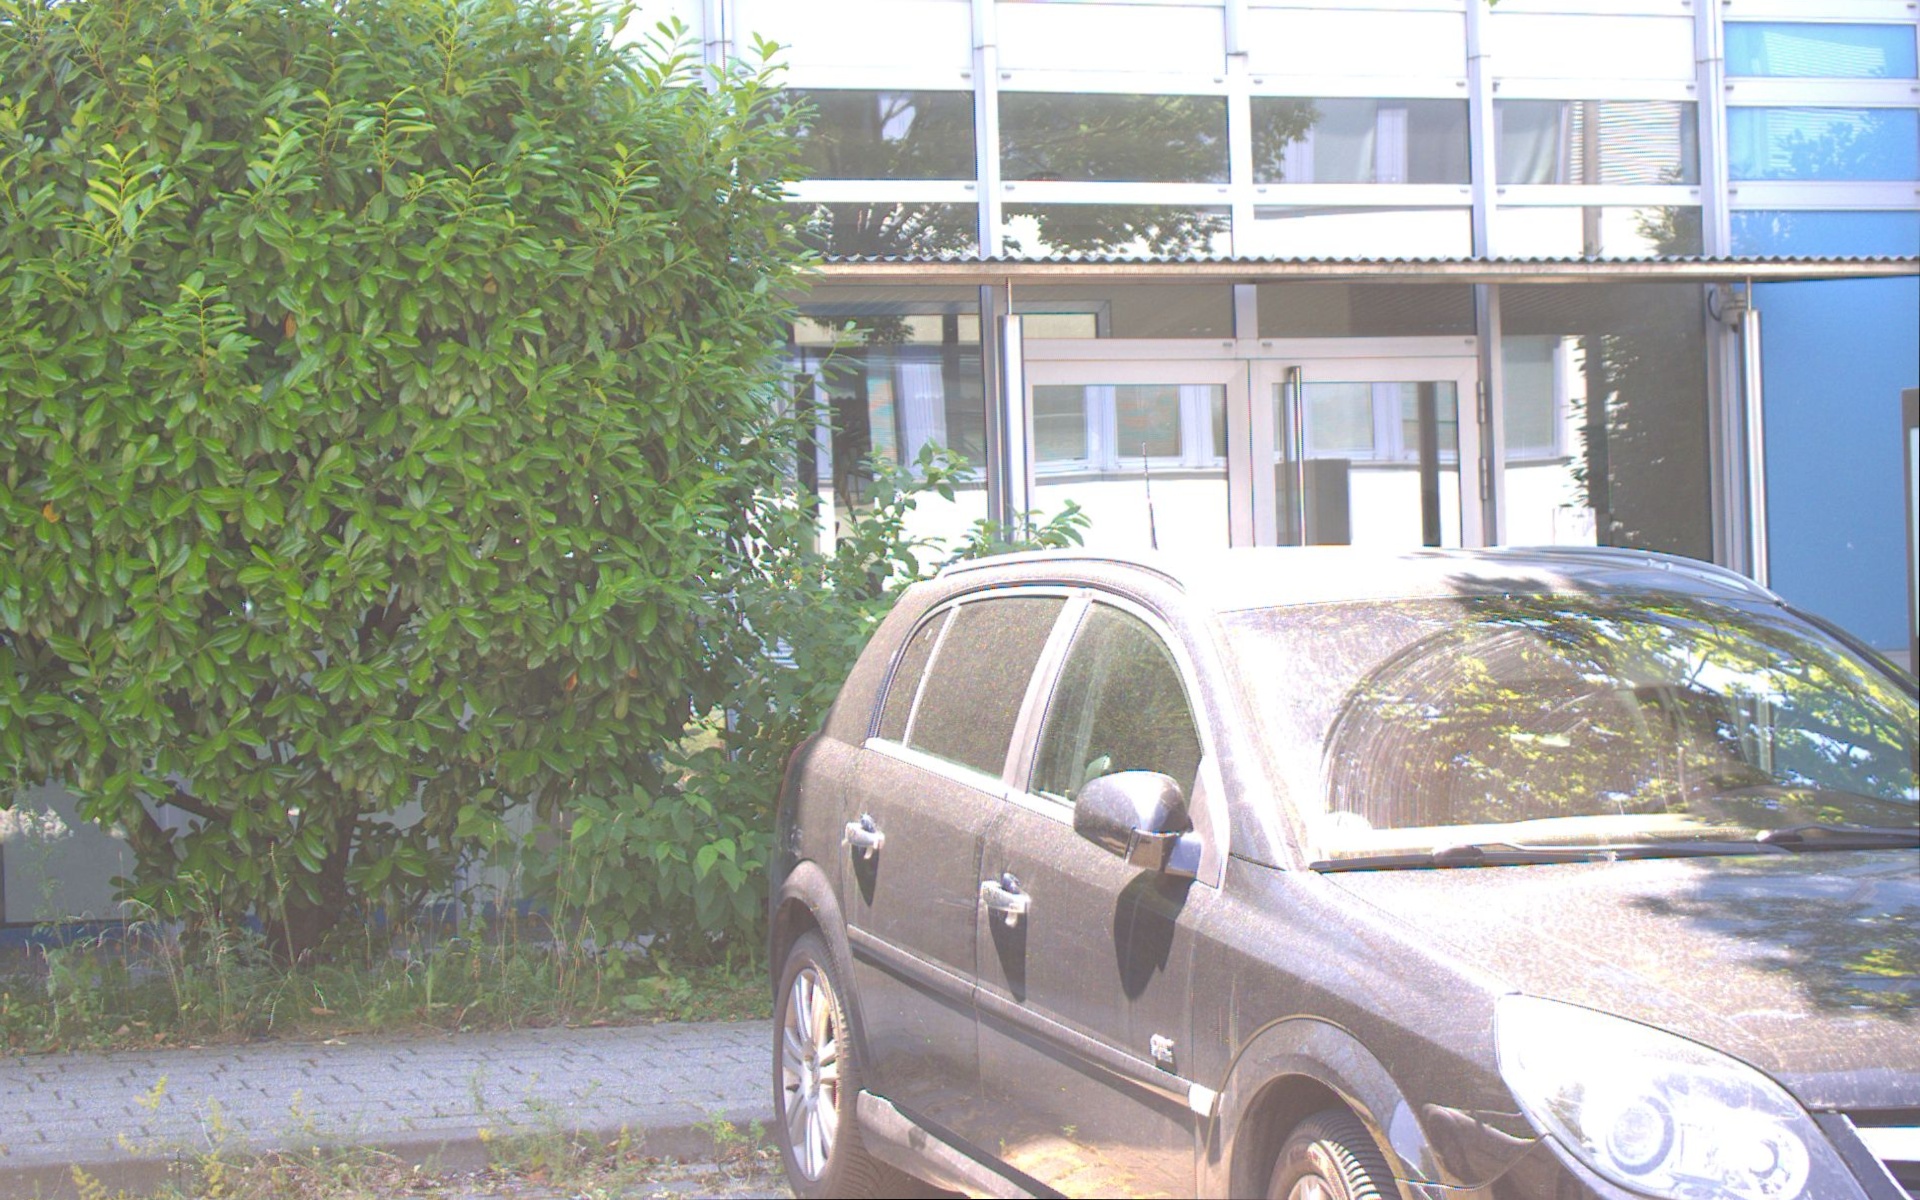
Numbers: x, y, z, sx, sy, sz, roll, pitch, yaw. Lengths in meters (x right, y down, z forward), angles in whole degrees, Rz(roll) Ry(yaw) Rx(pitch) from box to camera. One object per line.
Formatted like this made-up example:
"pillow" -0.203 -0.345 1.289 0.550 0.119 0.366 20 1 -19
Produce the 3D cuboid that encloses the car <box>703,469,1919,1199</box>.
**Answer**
"car" 0.882 0.602 6.452 1.757 1.544 4.567 0 0 -17
